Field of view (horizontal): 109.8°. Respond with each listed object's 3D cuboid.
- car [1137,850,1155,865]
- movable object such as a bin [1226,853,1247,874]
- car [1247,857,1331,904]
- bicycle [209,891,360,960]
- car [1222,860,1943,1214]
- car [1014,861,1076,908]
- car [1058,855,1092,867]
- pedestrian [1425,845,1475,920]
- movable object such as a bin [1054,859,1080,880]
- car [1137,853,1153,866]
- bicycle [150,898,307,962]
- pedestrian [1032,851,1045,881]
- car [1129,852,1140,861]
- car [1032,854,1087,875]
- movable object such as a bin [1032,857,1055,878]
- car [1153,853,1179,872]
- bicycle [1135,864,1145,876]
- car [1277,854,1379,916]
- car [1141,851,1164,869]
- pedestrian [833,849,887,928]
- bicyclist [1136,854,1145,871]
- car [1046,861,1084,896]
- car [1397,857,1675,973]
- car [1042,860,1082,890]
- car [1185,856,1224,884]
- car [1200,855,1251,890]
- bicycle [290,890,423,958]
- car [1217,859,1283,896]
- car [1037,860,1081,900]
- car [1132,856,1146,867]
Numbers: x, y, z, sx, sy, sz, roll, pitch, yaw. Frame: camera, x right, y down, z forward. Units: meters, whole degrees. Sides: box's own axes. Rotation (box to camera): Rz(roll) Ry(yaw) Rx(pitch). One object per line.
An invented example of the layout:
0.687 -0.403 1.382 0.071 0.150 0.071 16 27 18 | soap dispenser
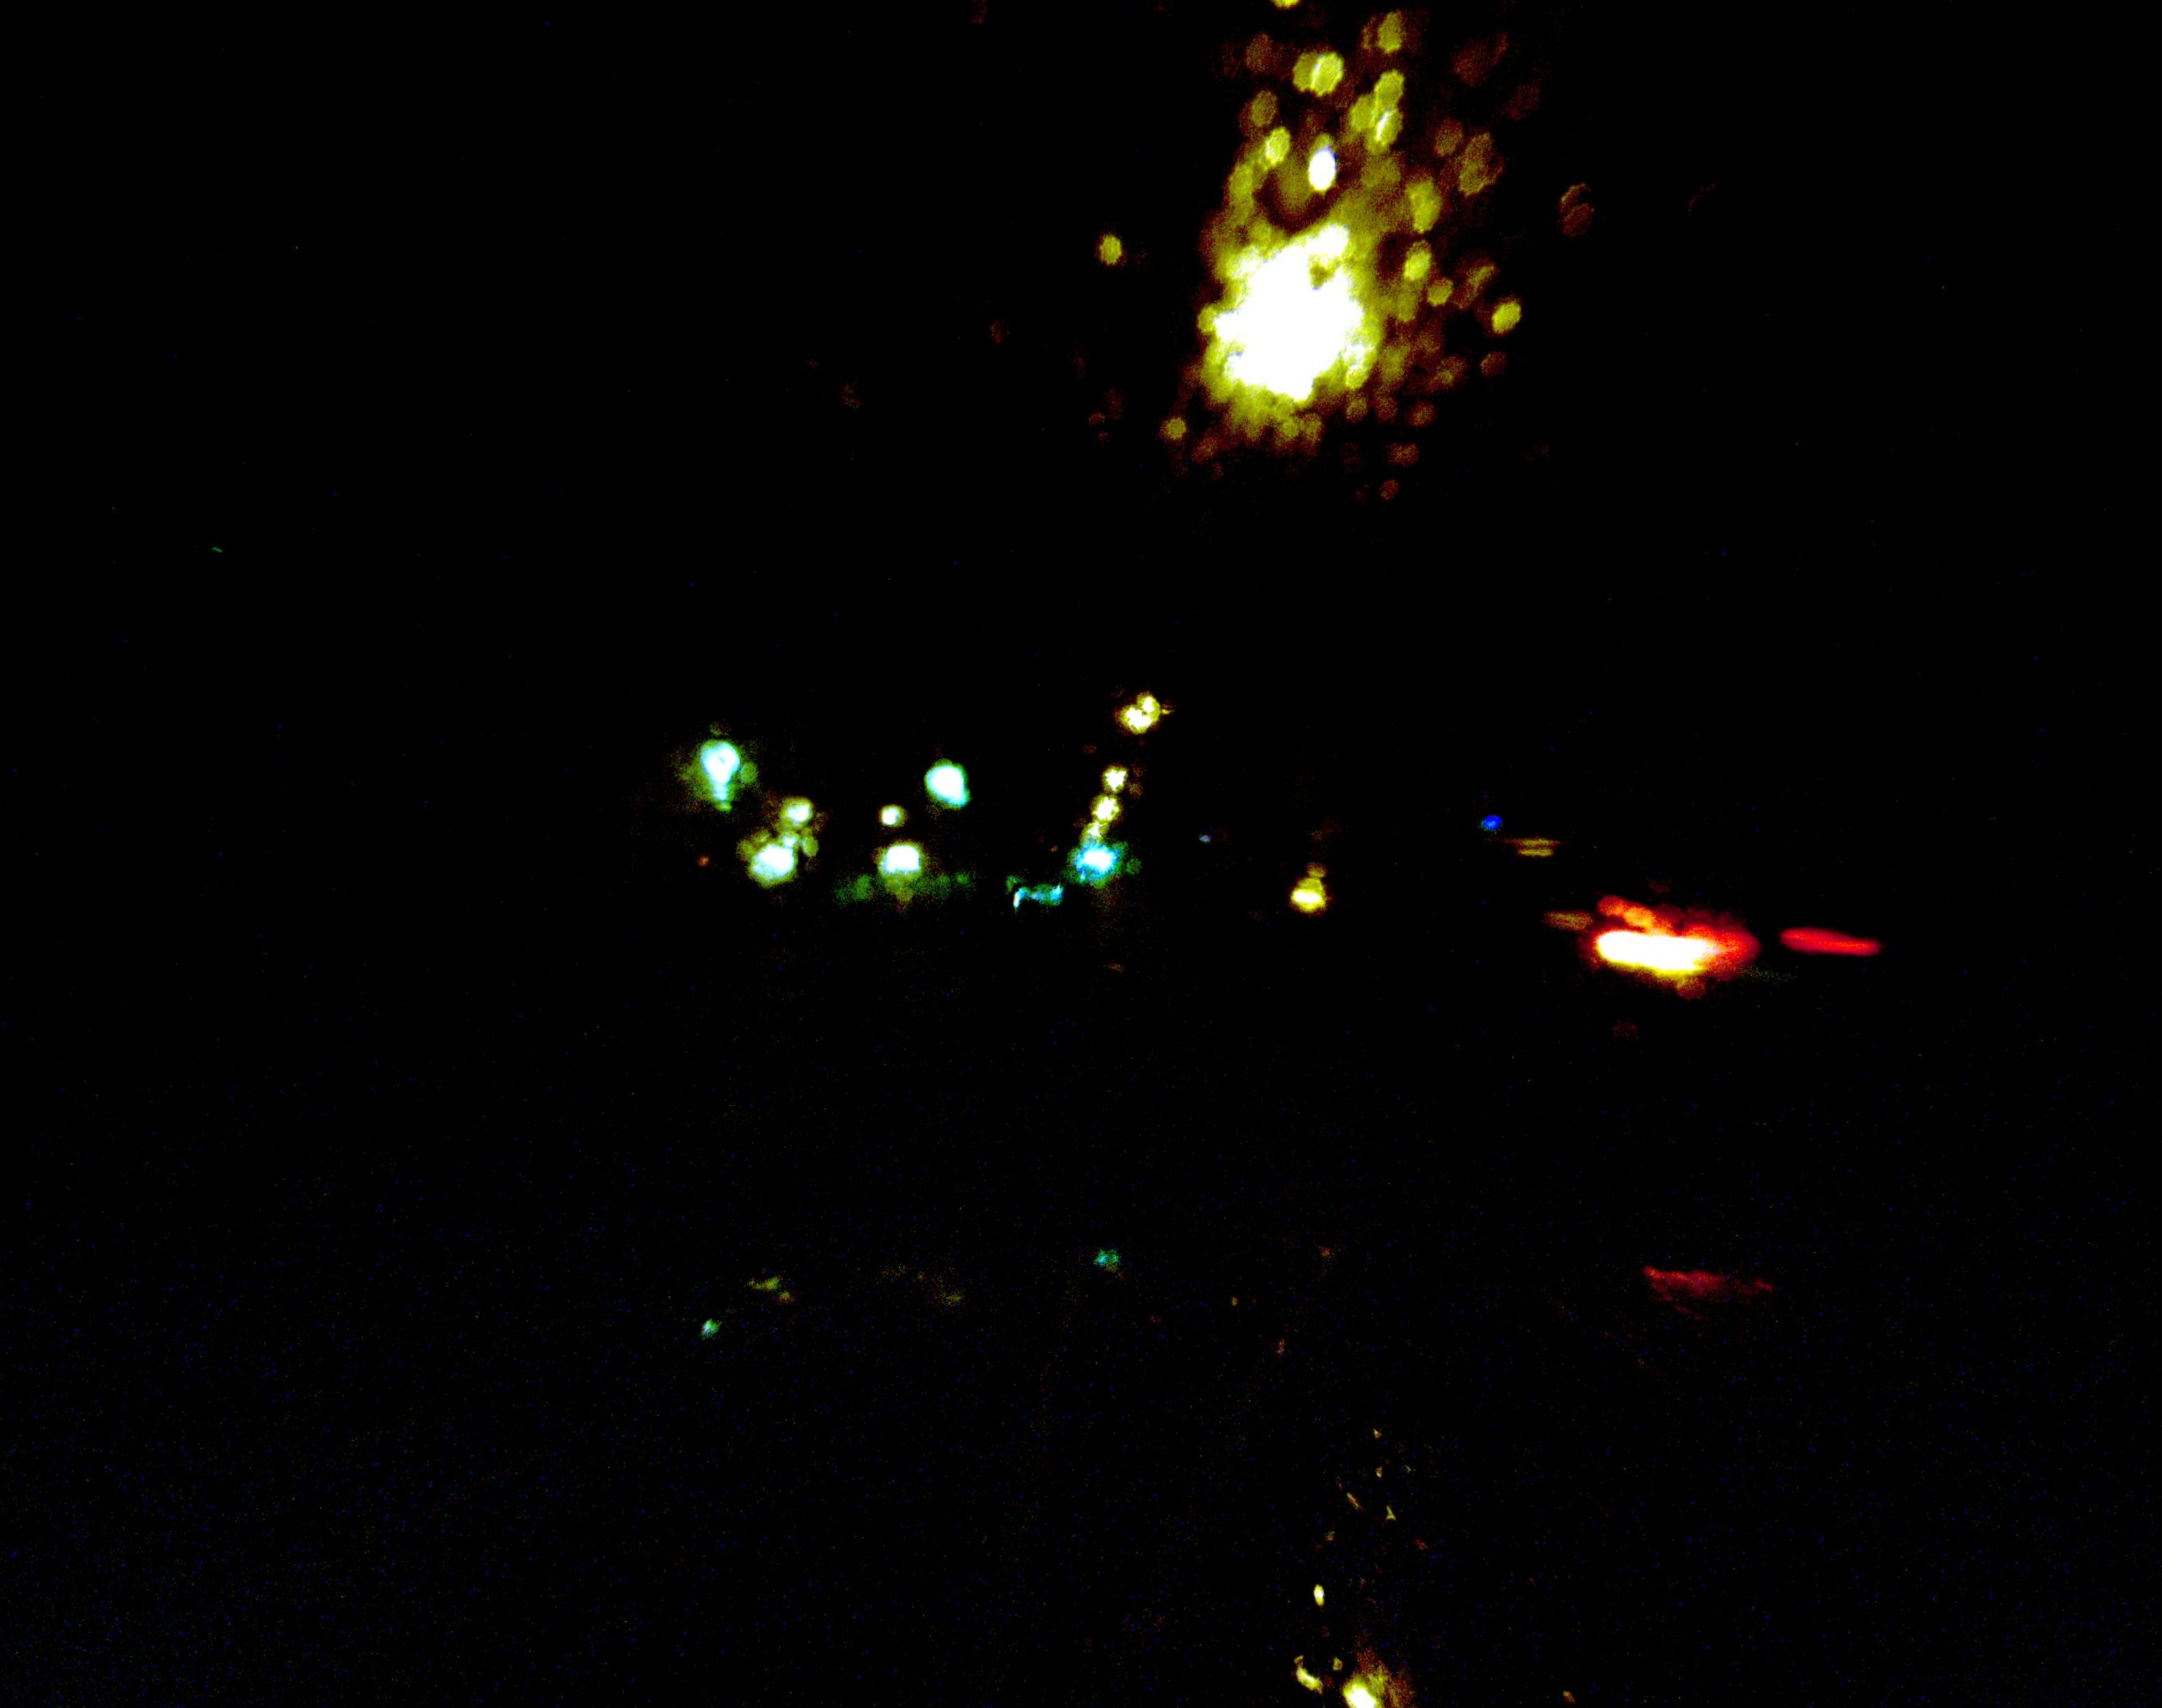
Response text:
8.088 0.407 94.773 1.907 1.818 4.829 -1 0 1 | car
10.462 0.636 51.213 1.104 1.445 1.378 0 1 -1 | movable object such as a bin
7.157 0.861 26.600 1.837 1.472 4.306 -1 0 1 | car
-15.540 1.365 14.912 0.702 1.109 1.984 -3 1 5 | bicycle
3.060 0.884 6.011 1.928 1.608 4.567 1 0 -17 | car
-1.151 0.986 26.162 1.922 1.403 4.000 -1 0 0 | car
-0.759 0.860 96.935 3.989 1.368 1.756 -2 1 39 | car
9.224 0.681 19.021 0.745 1.794 0.986 -3 1 4 | pedestrian
-0.969 1.048 52.103 1.344 1.421 1.198 -1 1 -35 | movable object such as a bin
7.186 0.583 85.564 1.573 1.451 3.720 -1 0 1 | car
-16.717 1.452 14.987 0.702 1.004 1.984 -3 1 5 | bicycle
-2.573 0.725 46.031 0.704 1.778 0.624 1 0 4 | pedestrian
8.734 0.436 124.507 1.696 1.470 3.385 -1 -1 5 | car
-1.813 0.888 64.700 4.523 1.522 1.780 2 1 0 | car
-2.555 0.895 51.513 1.311 1.421 1.051 -1 1 10 | movable object such as a bin
7.488 0.704 67.154 1.771 1.474 4.772 -4 0 2 | car
5.244 1.407 67.798 0.729 1.066 2.348 0 0 1 | bicycle
6.976 0.812 21.834 1.749 1.579 3.765 -1 0 1 | car
7.471 0.575 79.552 2.000 1.818 5.207 -1 0 1 | car
-5.151 0.788 17.757 0.864 1.778 1.083 1 0 4 | pedestrian
5.305 0.762 67.719 0.720 1.547 0.895 0 1 1 | bicyclist
-0.797 1.122 36.239 1.694 1.490 3.890 -1 0 -3 | car
7.020 0.824 12.424 1.837 1.477 4.594 -1 0 1 | car
-1.001 1.108 41.987 1.998 1.455 4.416 -1 0 1 | car
7.155 0.883 44.277 1.676 1.482 3.721 -2 0 1 | car
7.088 0.855 37.525 1.779 1.563 4.134 -1 0 1 | car
-14.155 1.331 14.930 0.507 1.109 1.984 -3 1 5 | bicycle
6.999 0.935 31.888 1.826 1.381 4.425 -1 0 1 | car
-0.863 1.036 31.600 1.694 1.490 3.891 -1 0 0 | car
8.127 1.061 106.723 1.731 1.384 4.555 -1 0 1 | car
